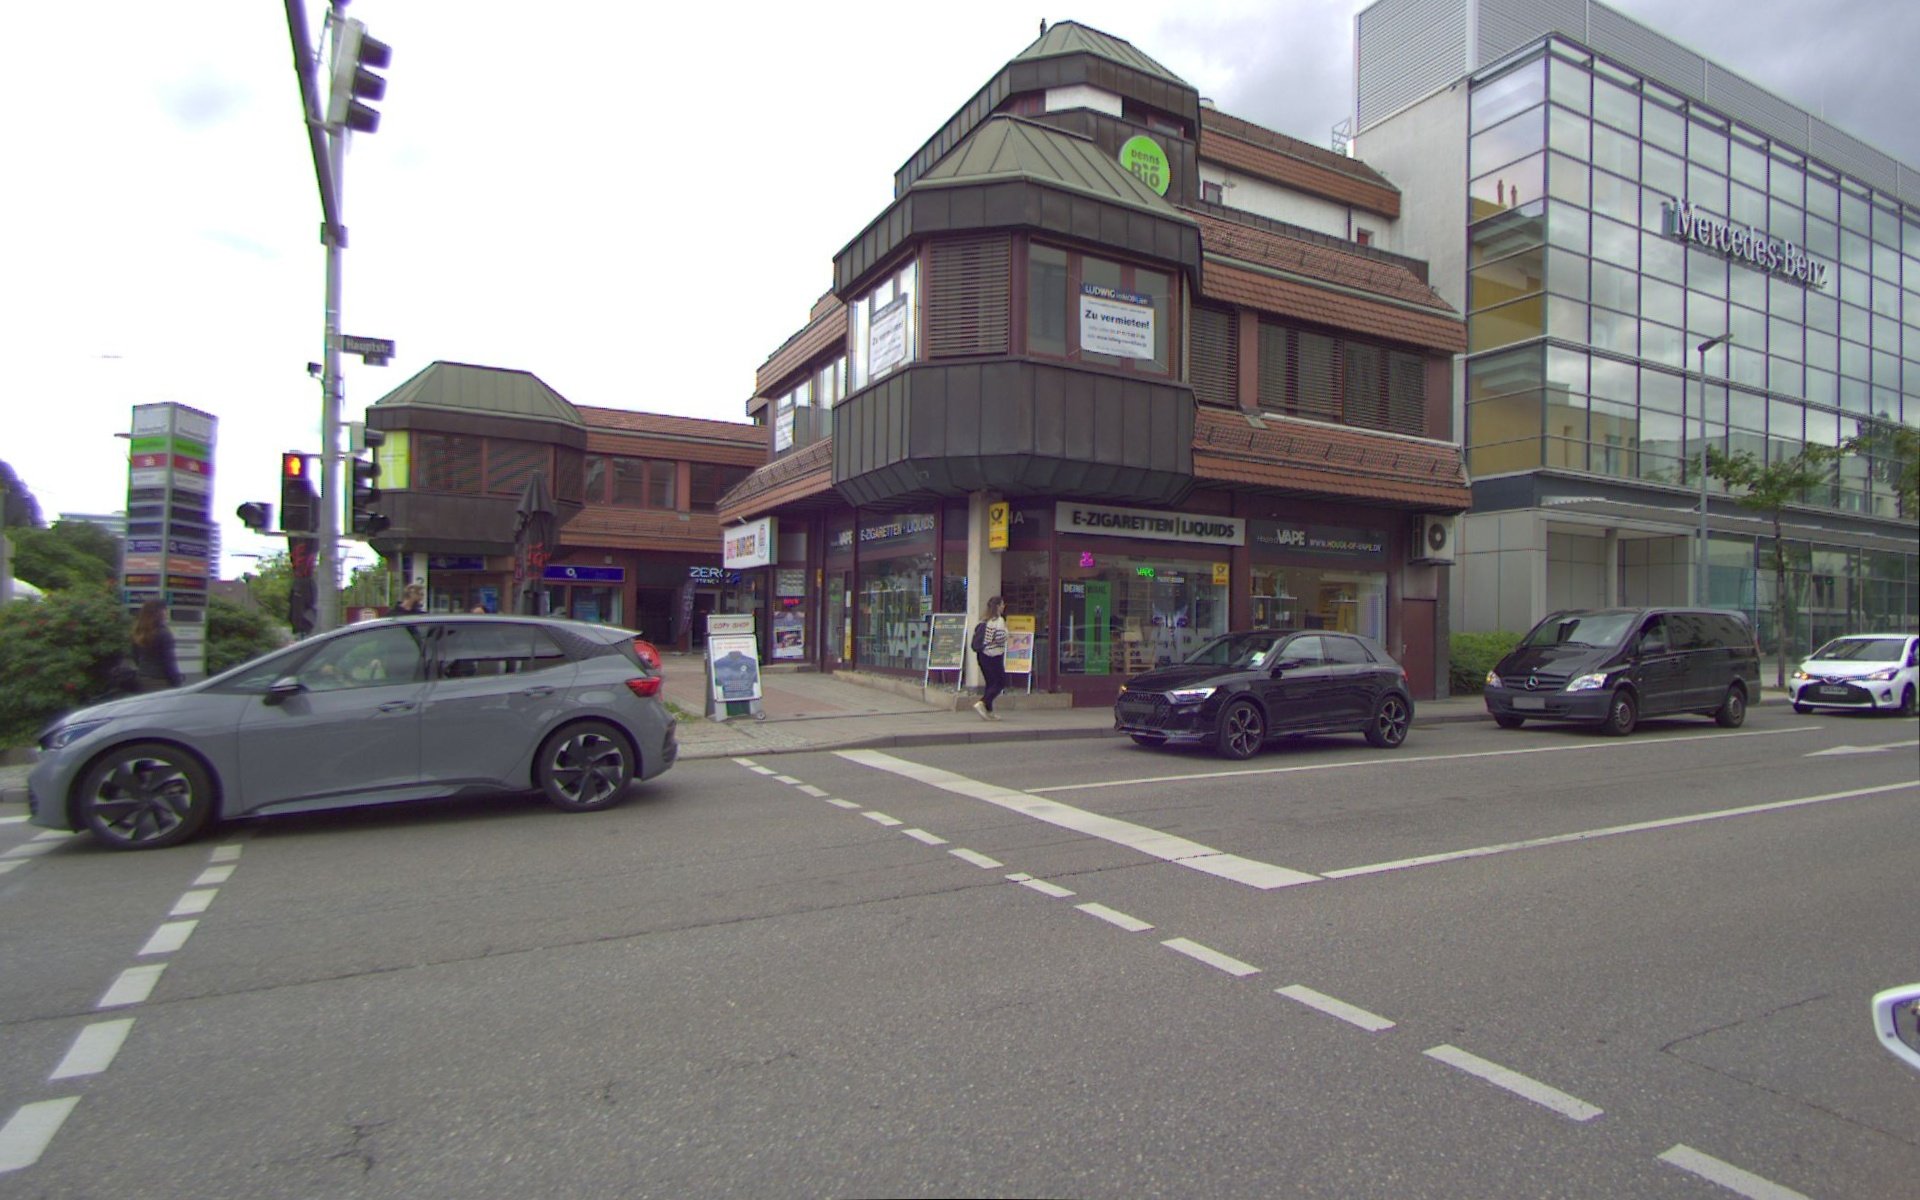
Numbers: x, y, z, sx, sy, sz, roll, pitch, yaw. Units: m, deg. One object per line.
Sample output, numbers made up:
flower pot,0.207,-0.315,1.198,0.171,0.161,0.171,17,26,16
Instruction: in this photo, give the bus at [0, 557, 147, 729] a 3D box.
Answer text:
bus,-23.012,1.142,24.292,2.960,3.370,12.217,1,-4,-28

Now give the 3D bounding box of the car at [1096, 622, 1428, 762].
car,3.757,1.031,12.354,3.953,1.462,1.694,1,-1,-30

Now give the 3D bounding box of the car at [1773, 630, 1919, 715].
car,17.410,1.324,19.088,3.950,1.485,1.654,1,-2,-28

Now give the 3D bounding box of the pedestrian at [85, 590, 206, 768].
pedestrian,-8.339,0.778,10.321,0.691,1.736,0.810,0,0,-16

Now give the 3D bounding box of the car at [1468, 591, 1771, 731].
car,10.491,0.918,15.896,5.050,1.935,1.858,1,-2,-29

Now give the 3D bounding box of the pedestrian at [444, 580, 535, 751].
pedestrian,-5.296,0.707,11.296,0.768,1.832,0.804,1,0,-36

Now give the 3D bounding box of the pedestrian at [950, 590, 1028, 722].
pedestrian,0.390,0.734,13.536,0.769,1.715,0.744,1,-1,-33

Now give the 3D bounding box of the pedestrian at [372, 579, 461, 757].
pedestrian,-5.873,0.701,10.847,0.739,1.832,0.804,1,0,-36

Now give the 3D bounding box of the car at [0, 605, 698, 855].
car,-4.426,0.850,7.926,4.329,1.537,1.753,1,-2,-27
